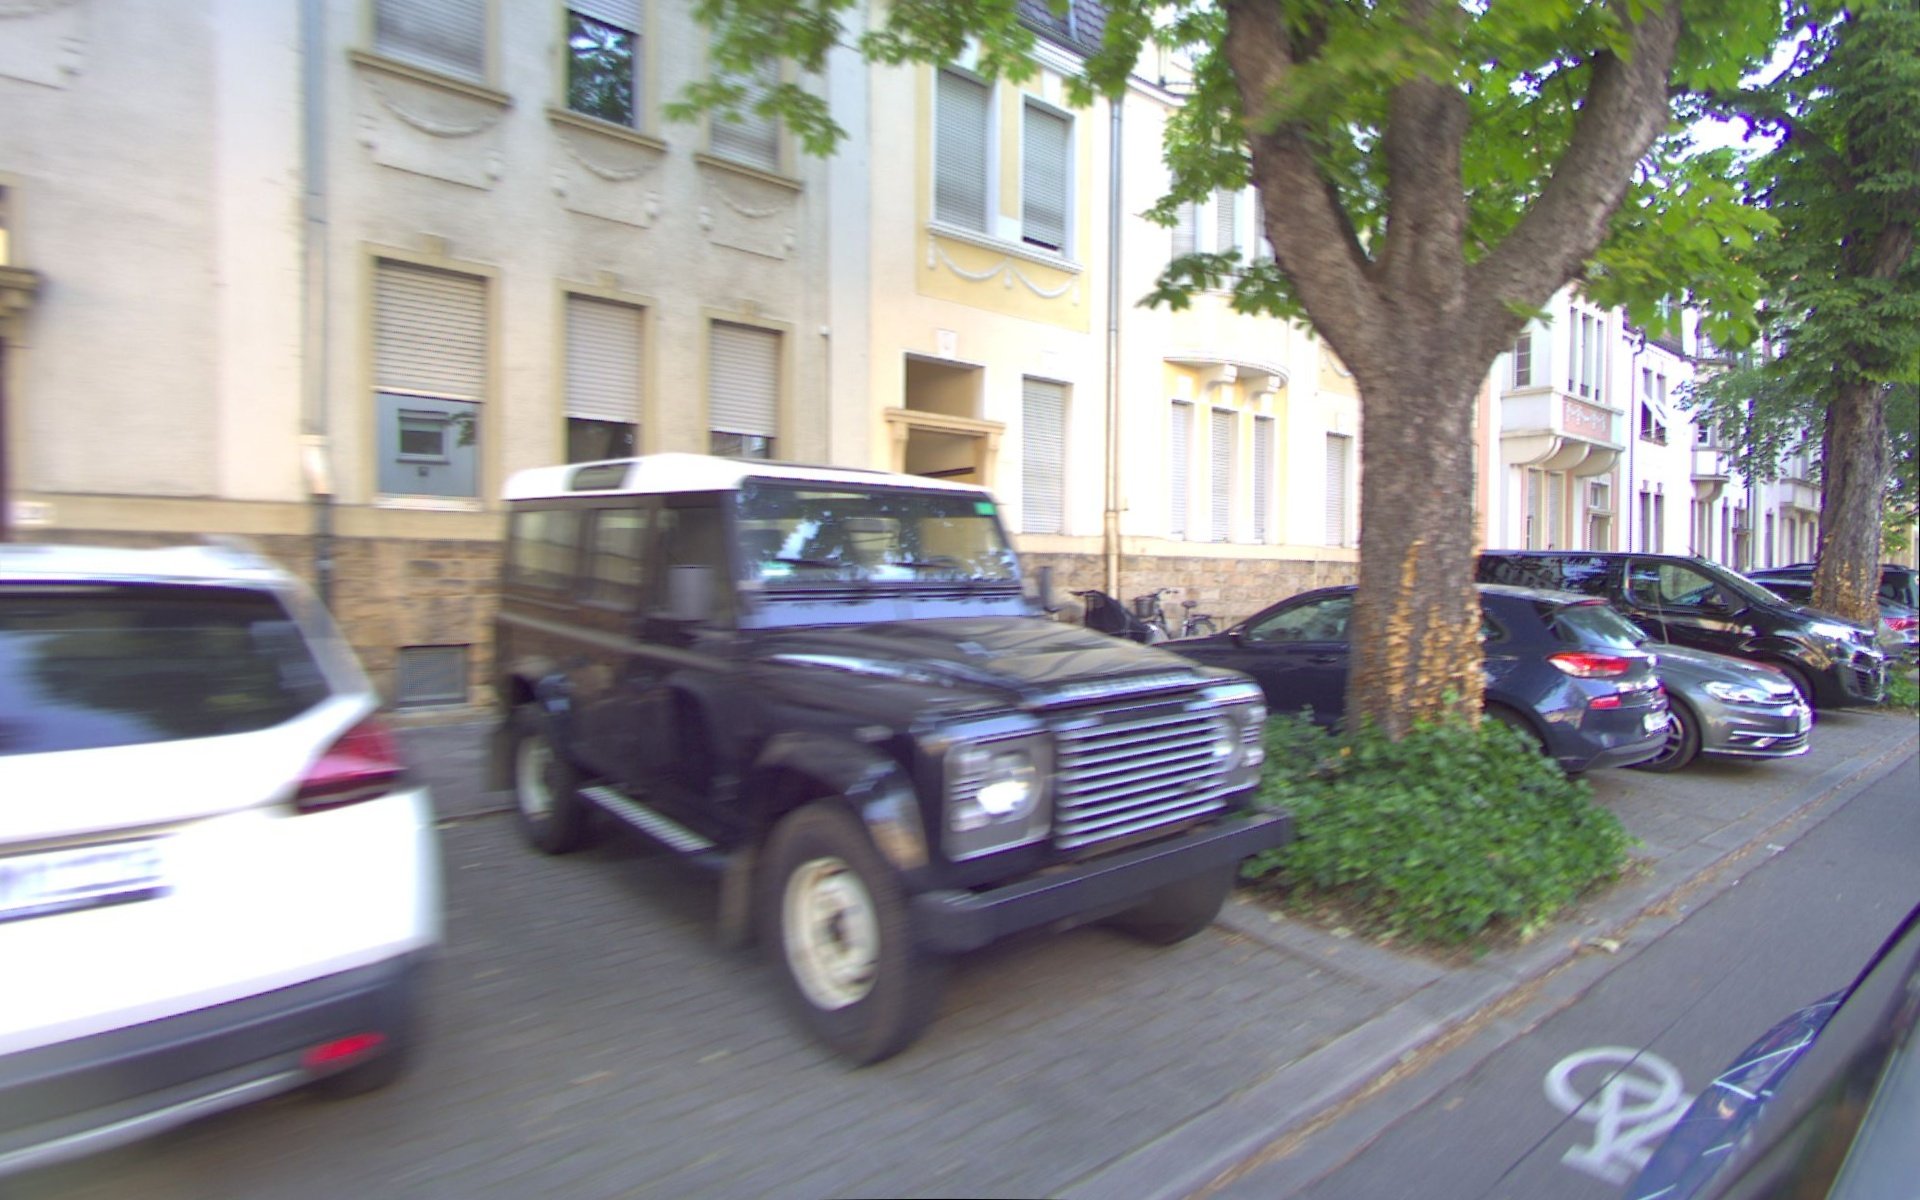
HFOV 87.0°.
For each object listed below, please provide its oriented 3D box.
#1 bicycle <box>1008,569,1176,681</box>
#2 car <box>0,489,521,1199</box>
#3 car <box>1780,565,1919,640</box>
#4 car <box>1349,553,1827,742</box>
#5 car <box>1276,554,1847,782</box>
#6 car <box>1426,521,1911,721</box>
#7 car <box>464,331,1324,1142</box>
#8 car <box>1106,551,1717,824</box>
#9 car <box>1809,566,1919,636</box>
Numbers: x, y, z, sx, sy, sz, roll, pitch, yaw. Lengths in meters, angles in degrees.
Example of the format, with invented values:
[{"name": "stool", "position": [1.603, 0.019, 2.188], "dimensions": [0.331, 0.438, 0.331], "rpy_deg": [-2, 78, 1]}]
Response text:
[{"name": "bicycle", "position": [1.710, 0.281, 12.896], "dimensions": [2.162, 1.300, 0.762], "rpy_deg": [0, 3, -37]}, {"name": "car", "position": [-2.974, 0.540, 3.319], "dimensions": [1.655, 1.595, 4.042], "rpy_deg": [0, 2, -41]}, {"name": "car", "position": [24.687, 0.051, 26.543], "dimensions": [1.966, 1.897, 4.704], "rpy_deg": [-1, 1, -41]}, {"name": "car", "position": [6.842, 0.406, 11.375], "dimensions": [1.966, 1.709, 4.203], "rpy_deg": [-1, 1, -41]}, {"name": "car", "position": [5.363, 0.460, 9.452], "dimensions": [1.966, 1.627, 4.203], "rpy_deg": [-1, 1, -41]}, {"name": "car", "position": [8.675, 0.188, 12.765], "dimensions": [1.966, 2.039, 4.704], "rpy_deg": [-1, 1, -41]}, {"name": "car", "position": [-0.773, 0.229, 4.752], "dimensions": [1.729, 2.008, 4.430], "rpy_deg": [-4, 4, -40]}, {"name": "car", "position": [3.452, 0.506, 8.363], "dimensions": [1.939, 1.649, 4.203], "rpy_deg": [-1, 1, -41]}, {"name": "car", "position": [26.784, 0.012, 28.095], "dimensions": [1.966, 1.897, 4.704], "rpy_deg": [-1, 1, -41]}]
